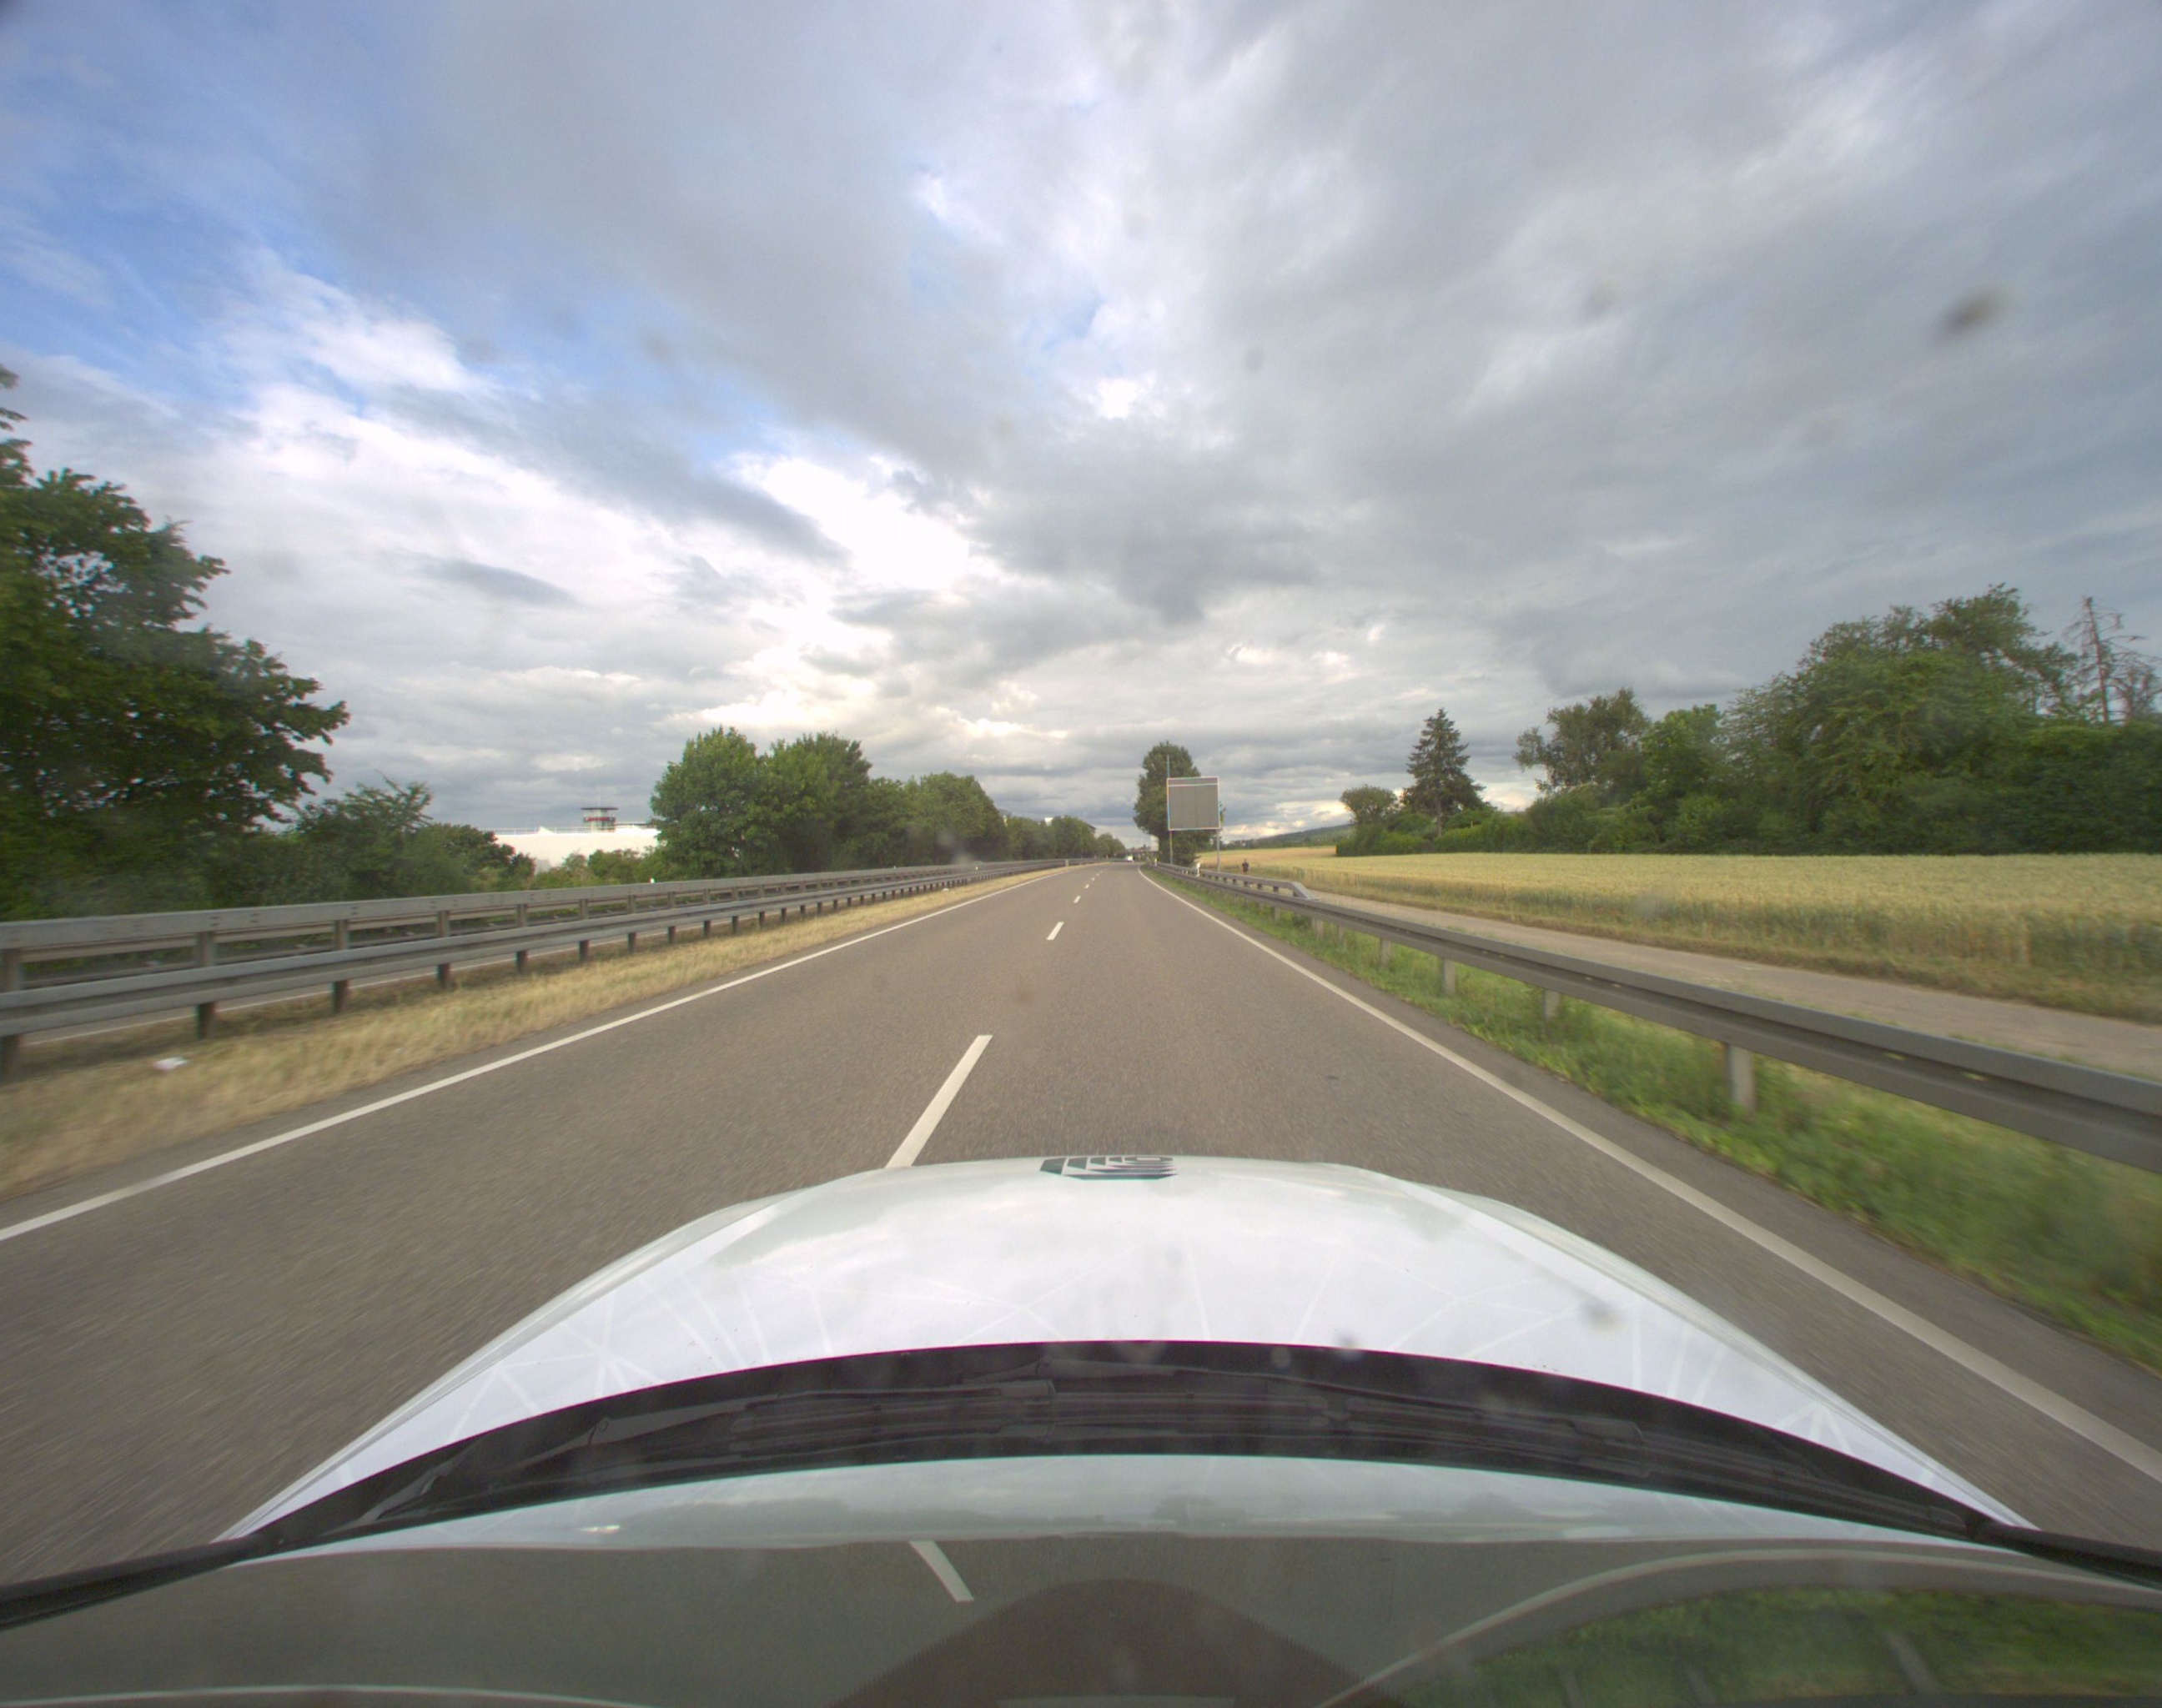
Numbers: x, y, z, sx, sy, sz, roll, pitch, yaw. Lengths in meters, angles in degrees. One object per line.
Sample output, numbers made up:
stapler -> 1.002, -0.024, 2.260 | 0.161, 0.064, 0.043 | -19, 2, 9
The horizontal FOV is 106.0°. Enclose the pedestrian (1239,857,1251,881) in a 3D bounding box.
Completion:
pedestrian -> 12.852, 1.191, 63.690 | 0.768, 1.868, 0.940 | 0, -1, 2

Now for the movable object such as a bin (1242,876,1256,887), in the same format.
movable object such as a bin -> 11.209, 1.834, 54.428 | 0.729, 0.645, 1.236 | 0, -1, 2

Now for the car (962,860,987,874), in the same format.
car -> -11.273, 1.403, 86.493 | 1.774, 1.352, 4.579 | -2, 0, 2
